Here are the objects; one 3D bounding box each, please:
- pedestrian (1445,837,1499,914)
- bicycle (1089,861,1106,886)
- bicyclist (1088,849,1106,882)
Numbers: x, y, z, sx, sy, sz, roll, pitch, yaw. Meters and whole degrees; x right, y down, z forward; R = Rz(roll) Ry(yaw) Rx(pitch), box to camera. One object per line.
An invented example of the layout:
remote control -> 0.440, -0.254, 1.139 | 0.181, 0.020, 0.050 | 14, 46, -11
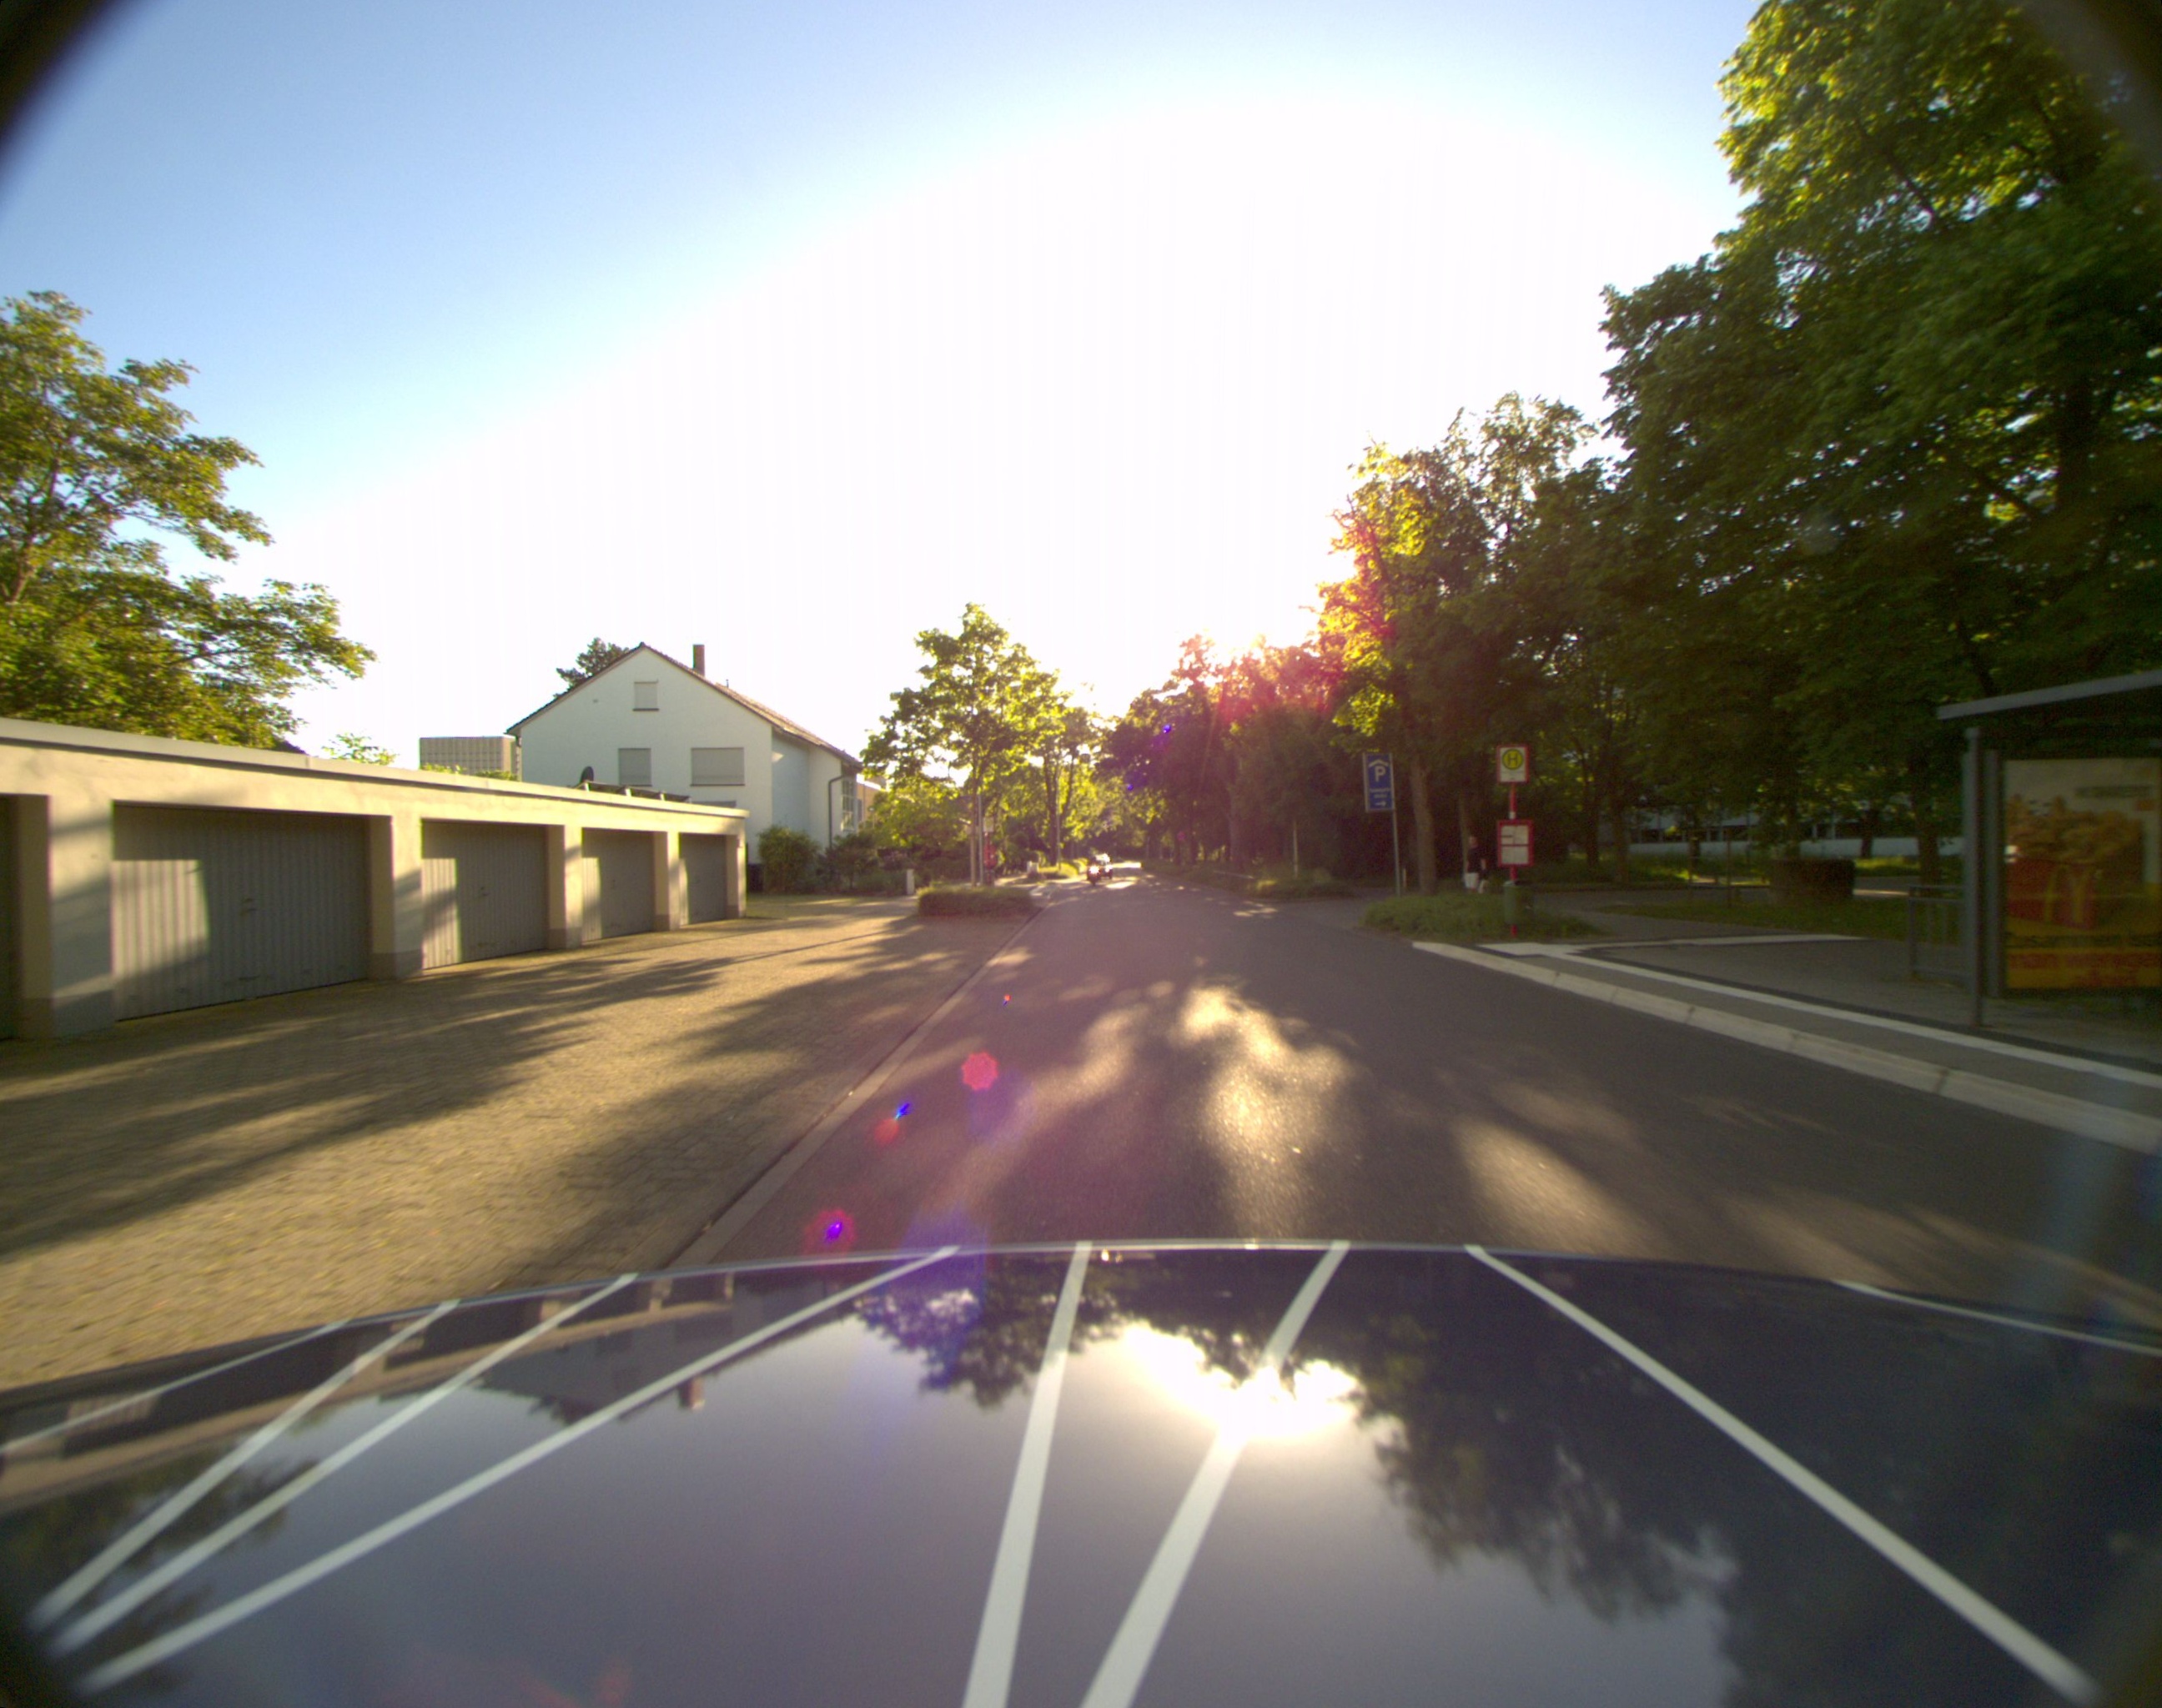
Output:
pedestrian -> 9.507, 0.522, 18.492 | 0.905, 1.810, 0.720 | -2, 1, -1
bicycle -> 0.837, 0.975, 39.008 | 0.829, 1.182, 2.302 | -2, 0, 1
bicyclist -> 0.818, 0.563, 38.863 | 0.819, 1.635, 0.744 | -3, 1, 0
